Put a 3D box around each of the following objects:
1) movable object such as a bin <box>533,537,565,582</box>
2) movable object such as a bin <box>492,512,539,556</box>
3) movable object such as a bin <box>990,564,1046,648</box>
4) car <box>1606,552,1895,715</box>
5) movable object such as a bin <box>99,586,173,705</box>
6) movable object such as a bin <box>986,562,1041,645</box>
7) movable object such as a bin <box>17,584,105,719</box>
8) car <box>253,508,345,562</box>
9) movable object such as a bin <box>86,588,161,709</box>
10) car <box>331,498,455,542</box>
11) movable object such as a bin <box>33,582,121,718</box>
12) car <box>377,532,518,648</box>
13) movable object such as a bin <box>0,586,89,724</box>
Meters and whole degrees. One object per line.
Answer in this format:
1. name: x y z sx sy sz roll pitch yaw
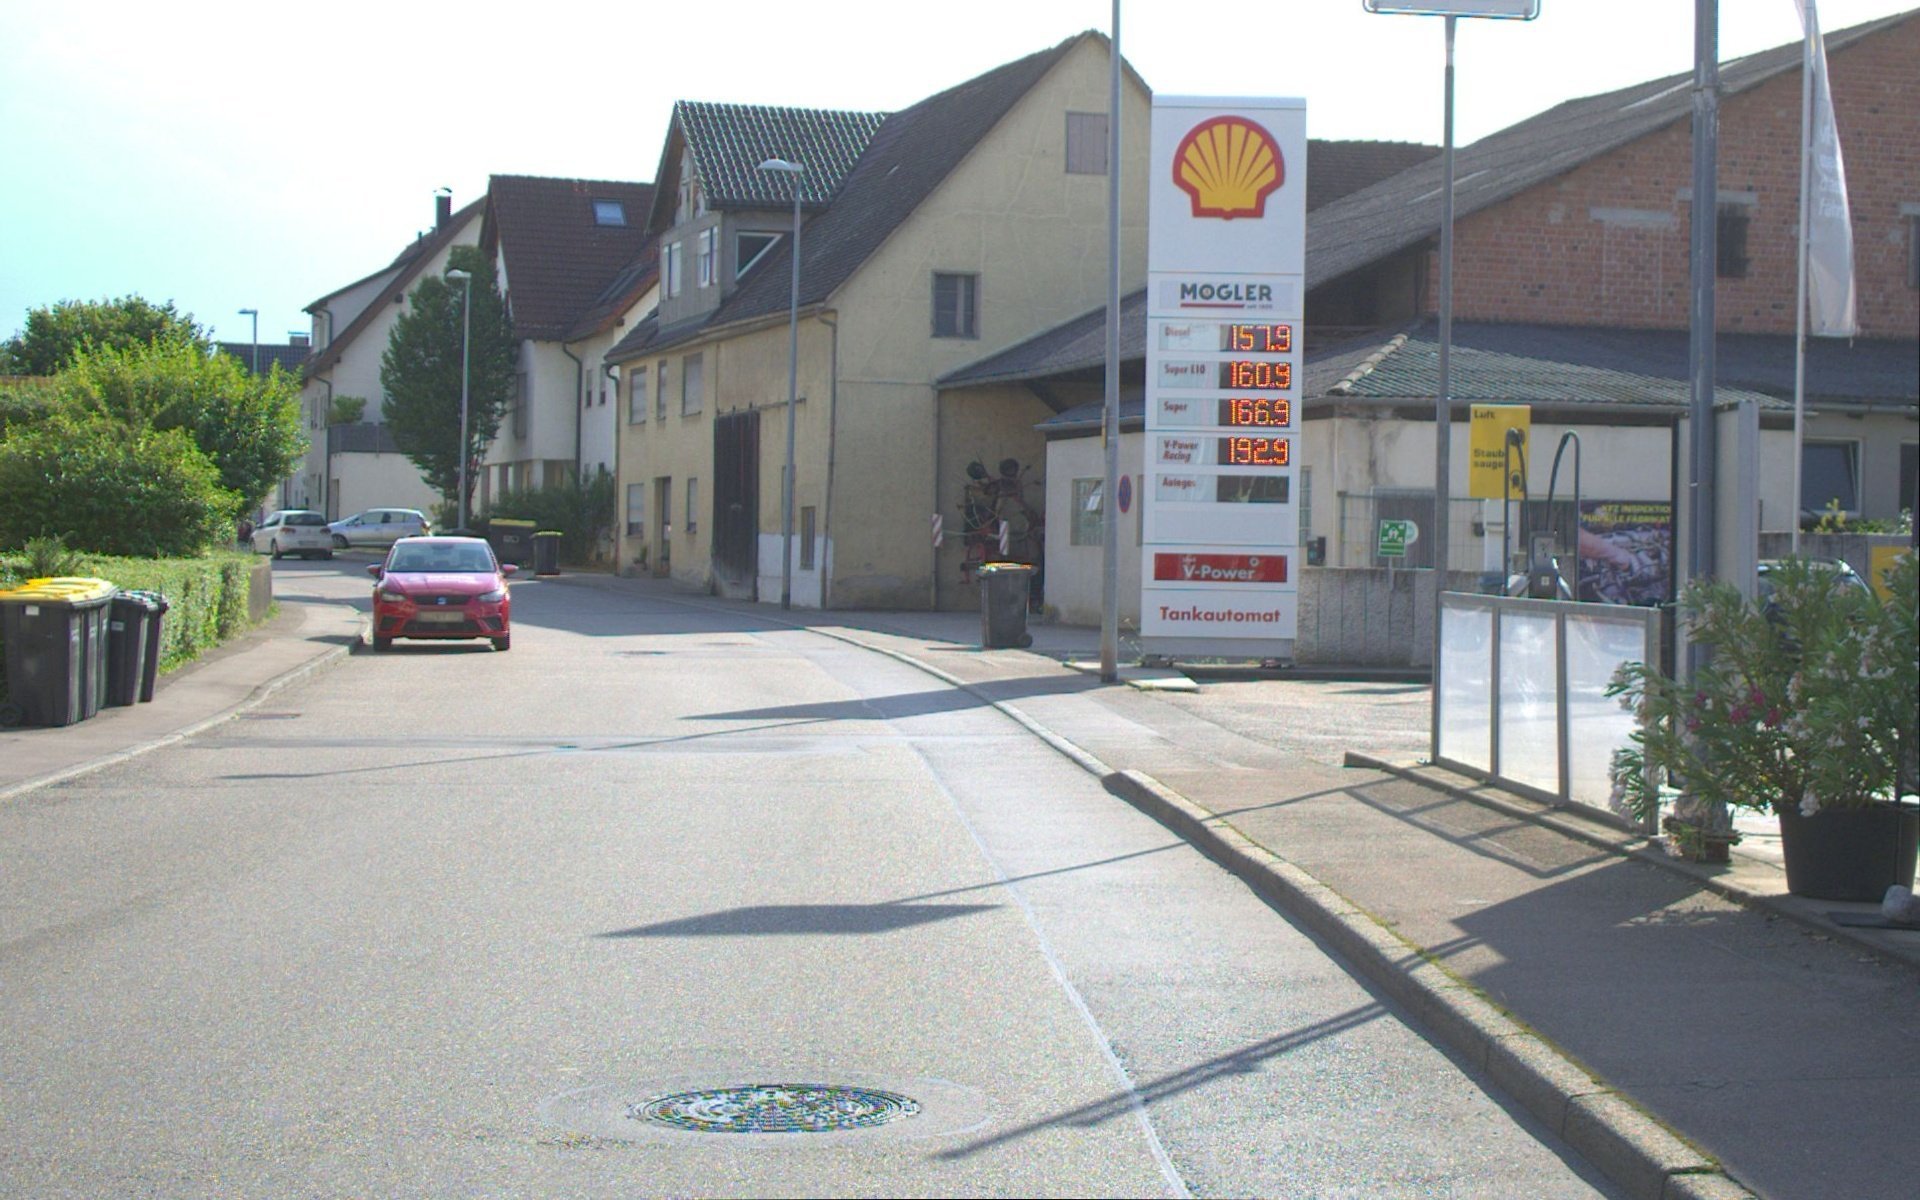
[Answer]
1. movable object such as a bin: -9.984 -0.984 83.513 0.652 1.070 0.513 1 1 -17
2. movable object such as a bin: -12.060 -1.783 93.252 1.160 1.164 0.655 1 1 -14
3. movable object such as a bin: 0.749 0.073 44.631 0.653 1.070 0.513 1 1 -5
4. car: 7.757 0.283 34.113 1.578 1.422 4.382 2 1 -3
5. movable object such as a bin: -7.131 0.390 29.770 0.531 1.019 0.457 0 1 -2
6. movable object such as a bin: 0.706 0.040 45.227 0.653 1.070 0.513 1 1 -5
7. movable object such as a bin: -7.338 0.415 28.066 0.588 1.080 0.530 0 1 -2
8. car: -19.980 -1.970 103.805 1.704 1.573 4.001 1 1 -26
9. movable object such as a bin: -7.125 0.410 29.278 0.531 1.019 0.457 0 1 -2
10. car: -18.754 -2.642 113.637 3.986 1.348 1.711 1 1 -10
11. movable object such as a bin: -7.363 0.411 28.683 0.588 1.118 0.617 0 1 -2
12. car: -6.704 -0.149 44.742 1.708 1.430 3.781 0 1 -10
13. movable object such as a bin: -7.310 0.432 27.438 0.588 1.080 0.508 0 1 -2
